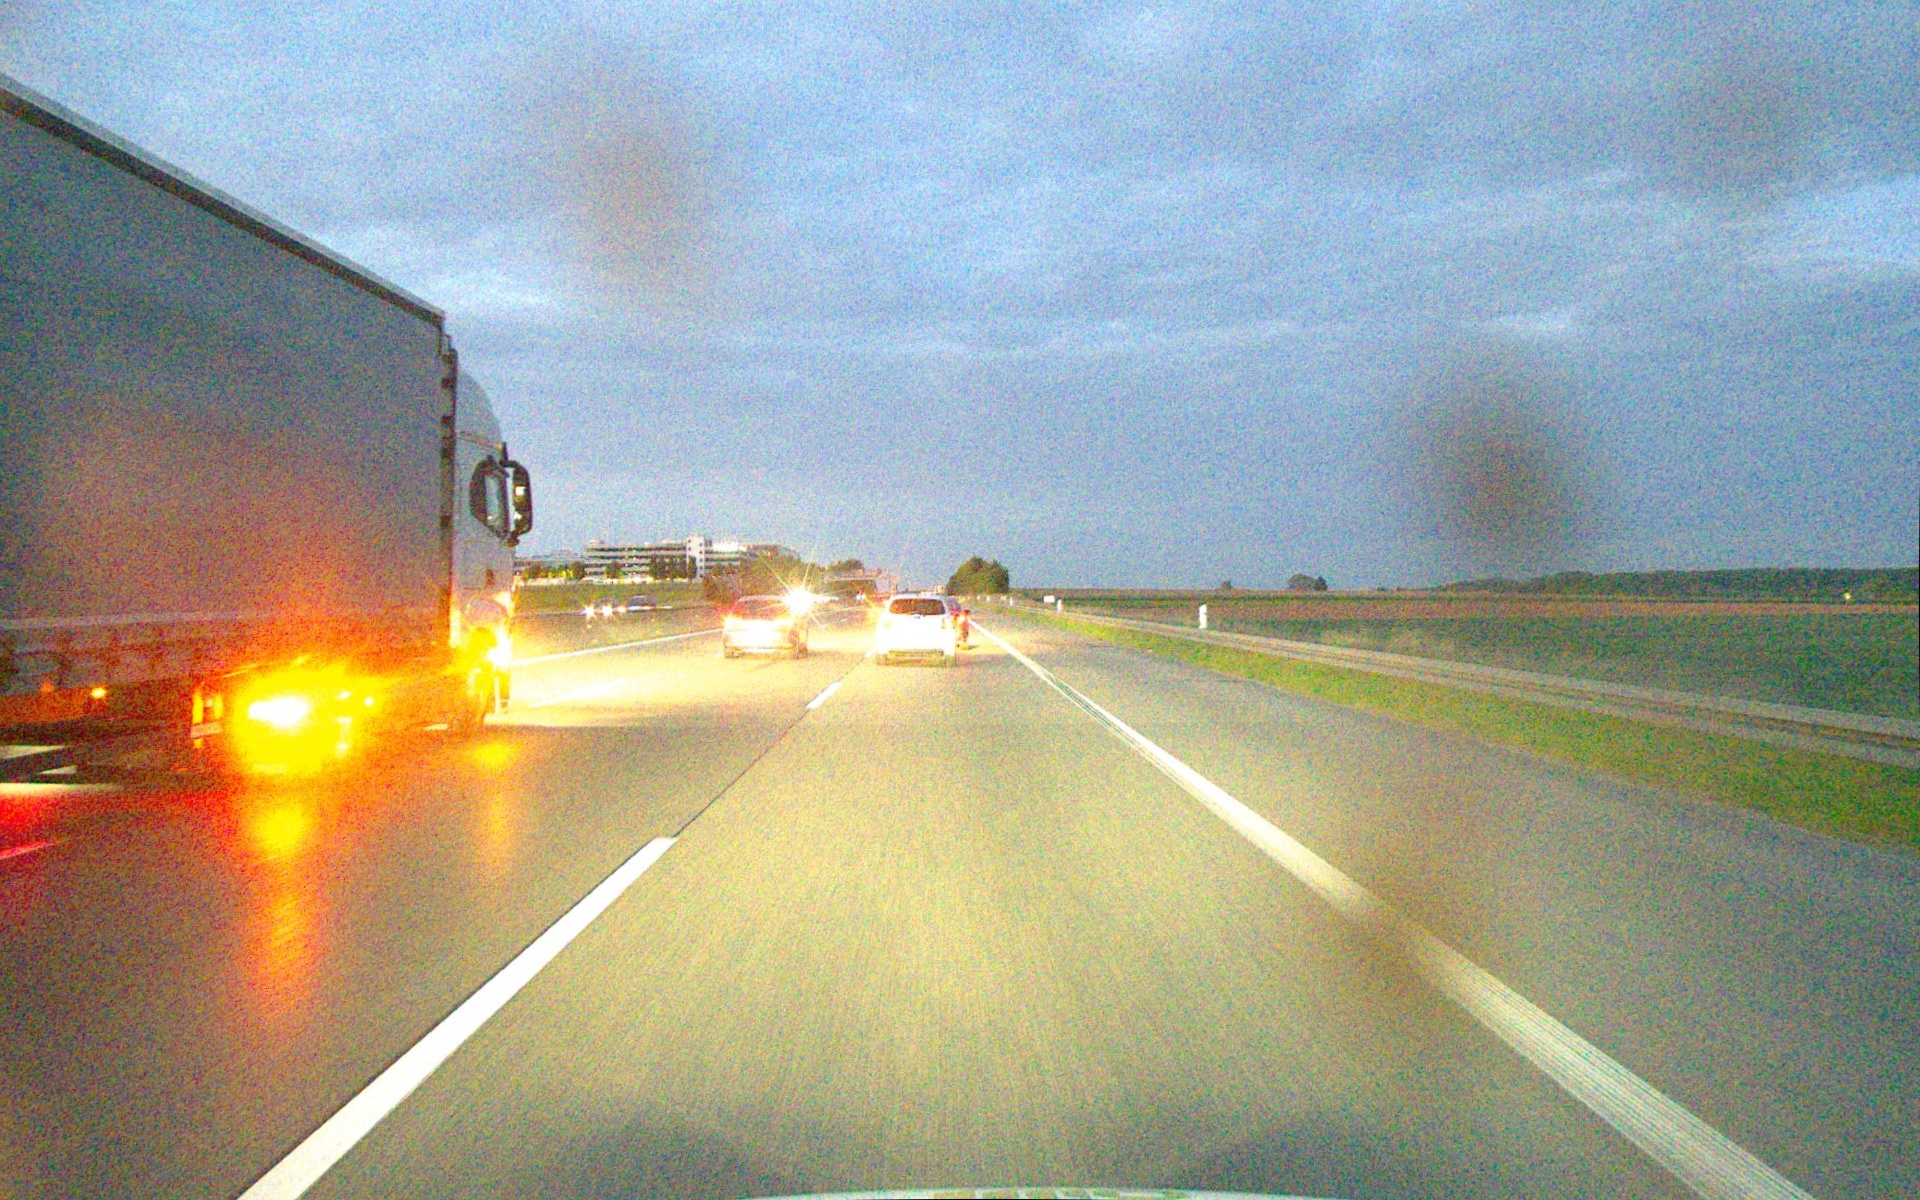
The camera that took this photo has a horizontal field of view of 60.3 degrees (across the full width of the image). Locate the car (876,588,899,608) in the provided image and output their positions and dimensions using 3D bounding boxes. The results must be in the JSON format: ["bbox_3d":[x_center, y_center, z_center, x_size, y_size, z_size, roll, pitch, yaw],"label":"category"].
[{"bbox_3d":[-6.154,-0.153,141.199,1.842,1.579,3.998,1,0,-2],"label":"car"}]

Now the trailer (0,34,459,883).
[{"bbox_3d":[-6.068,-0.690,8.274,2.737,4.157,14.524,0,0,0],"label":"trailer"}]

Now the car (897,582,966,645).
[{"bbox_3d":[-0.800,0.376,46.368,1.842,1.672,3.999,1,0,-1],"label":"car"}]

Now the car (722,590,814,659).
[{"bbox_3d":[-4.445,0.562,38.856,1.688,1.497,4.724,1,0,-1],"label":"car"}]

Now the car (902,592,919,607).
[{"bbox_3d":[-6.563,-0.050,217.678,2.154,1.912,3.999,1,0,-1],"label":"car"}]

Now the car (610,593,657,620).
[{"bbox_3d":[-17.099,0.345,86.829,1.697,1.393,3.899,1,0,-1],"label":"car"}]

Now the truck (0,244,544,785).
[{"bbox_3d":[-6.099,-0.647,15.800,2.721,4.164,6.102,0,0,0],"label":"truck"}]

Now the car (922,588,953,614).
[{"bbox_3d":[-1.424,0.068,102.221,1.842,1.579,3.998,1,0,-2],"label":"car"}]

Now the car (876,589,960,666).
[{"bbox_3d":[-0.879,0.589,36.360,1.709,1.551,4.413,1,0,-1],"label":"car"}]
